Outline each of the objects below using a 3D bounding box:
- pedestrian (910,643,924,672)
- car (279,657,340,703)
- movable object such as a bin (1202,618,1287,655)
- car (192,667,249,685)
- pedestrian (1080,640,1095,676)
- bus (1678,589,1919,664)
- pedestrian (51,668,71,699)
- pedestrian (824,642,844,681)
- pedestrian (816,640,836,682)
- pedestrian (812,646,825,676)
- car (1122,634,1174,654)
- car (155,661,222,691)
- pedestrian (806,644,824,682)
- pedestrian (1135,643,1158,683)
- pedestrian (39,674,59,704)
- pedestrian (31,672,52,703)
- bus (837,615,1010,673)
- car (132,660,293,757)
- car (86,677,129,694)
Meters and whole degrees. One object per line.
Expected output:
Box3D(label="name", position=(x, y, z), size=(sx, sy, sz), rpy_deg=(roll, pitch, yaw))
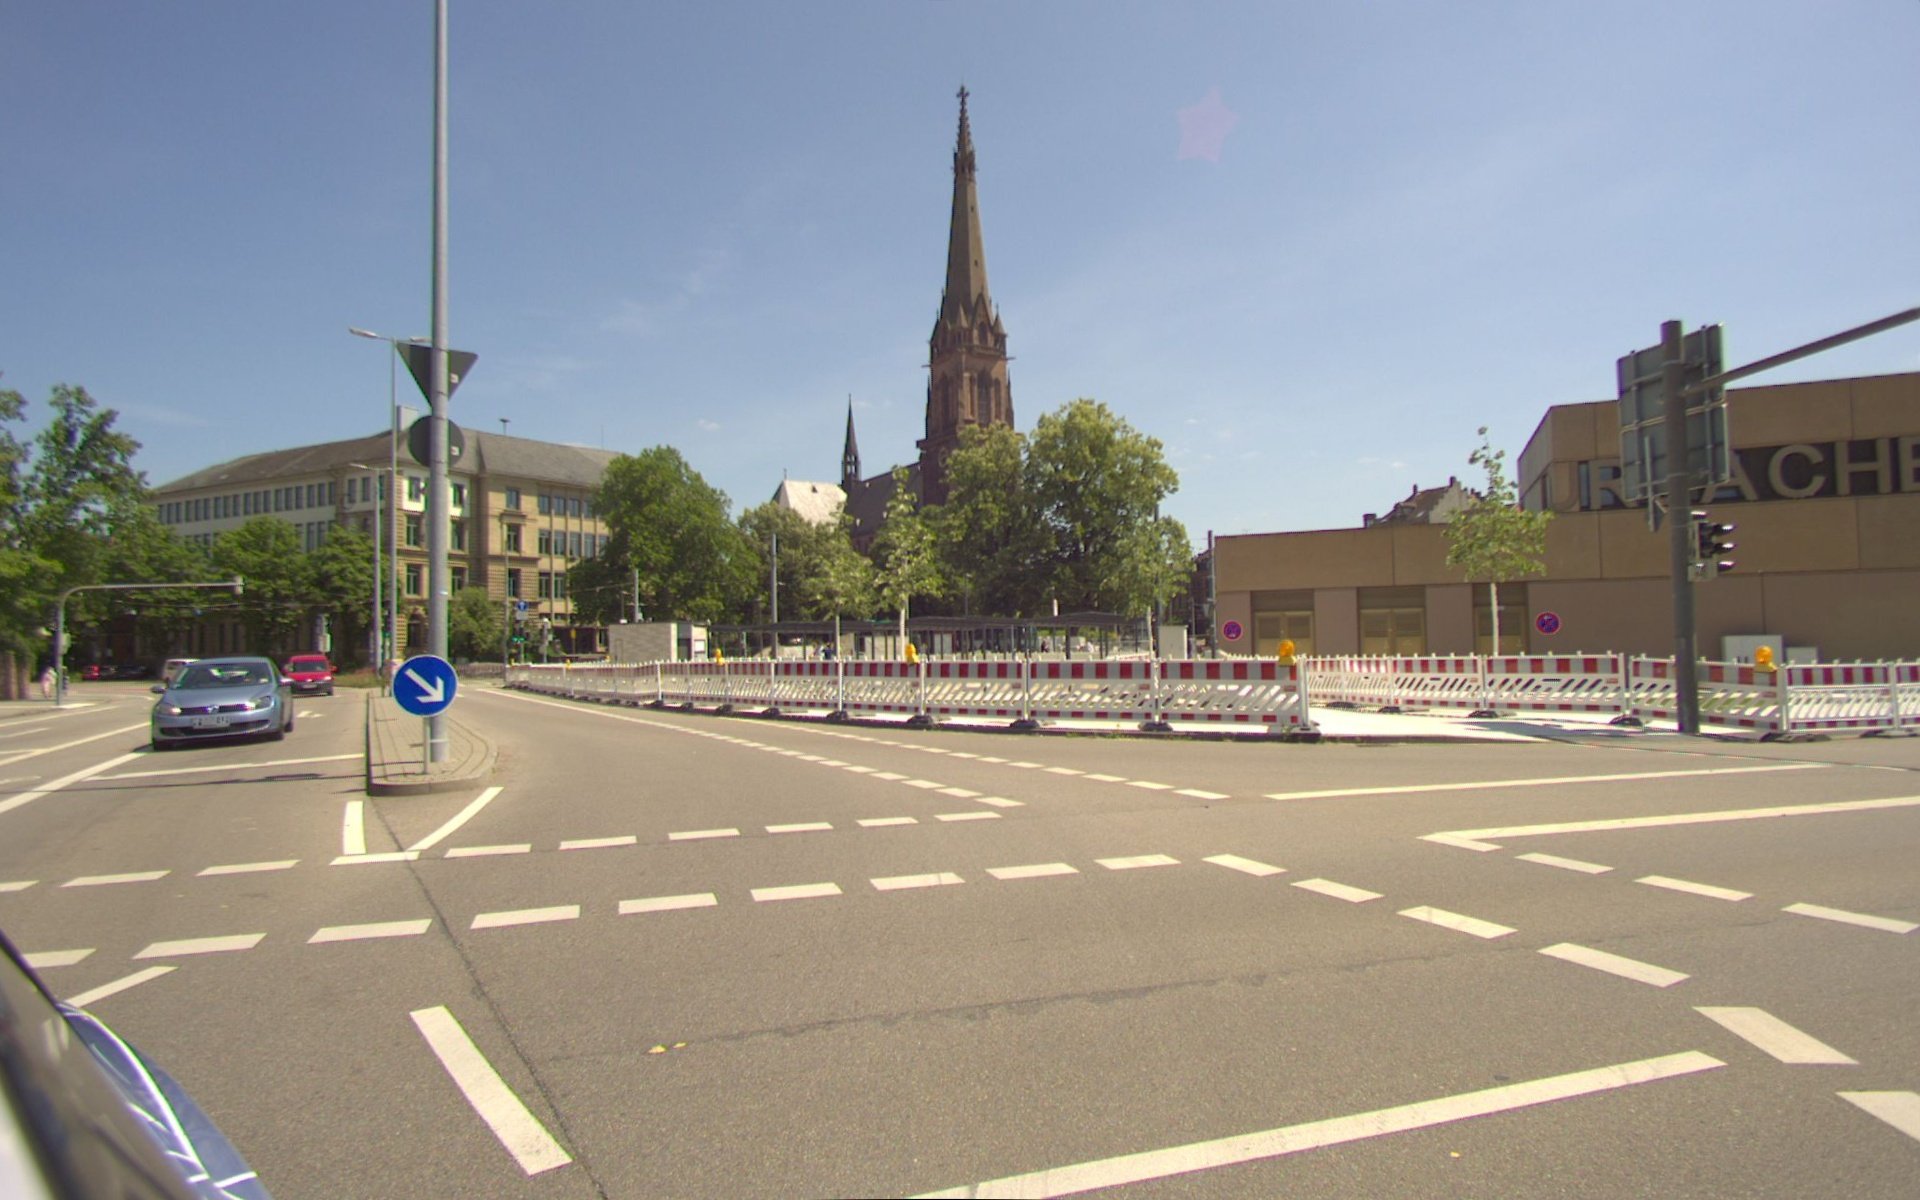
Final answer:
Box3D(label="pedestrian", position=(-2.458, 3.288, 57.938), size=(0.516, 1.632, 0.534), rpy_deg=(-4, -2, 20))
Box3D(label="car", position=(-28.335, 3.433, 44.197), size=(1.802, 1.779, 4.292), rpy_deg=(-2, -2, -27))
Box3D(label="movable object such as a bin", position=(29.653, 3.827, 105.733), size=(7.976, 3.414, 2.867), rpy_deg=(-5, -2, 43))
Box3D(label="car", position=(-59.183, 6.069, 80.999), size=(4.403, 1.439, 1.805), rpy_deg=(-2, -4, 26))
Box3D(label="pedestrian", position=(6.881, 3.136, 54.566), size=(0.602, 1.872, 0.694), rpy_deg=(-4, -2, 20))
Box3D(label="bus", position=(39.059, 1.178, 43.961), size=(12.181, 3.065, 3.707), rpy_deg=(-2, -3, 25))
Box3D(label="pedestrian", position=(-51.309, 4.787, 57.773), size=(0.555, 1.726, 0.599), rpy_deg=(-4, -6, 26))
Box3D(label="pedestrian", position=(-6.031, 2.942, 48.430), size=(0.634, 1.802, 0.640), rpy_deg=(-4, -2, 24))
Box3D(label="pedestrian", position=(-6.272, 2.847, 47.291), size=(0.573, 1.920, 0.687), rpy_deg=(-4, -2, 23))
Box3D(label="pedestrian", position=(-8.257, 3.577, 59.132), size=(0.558, 1.714, 0.580), rpy_deg=(-3, -2, 5))
Box3D(label="car", position=(16.615, 3.887, 89.719), size=(1.757, 1.614, 4.247), rpy_deg=(-1, -3, -45))
Box3D(label="car", position=(-53.648, 5.266, 70.355), size=(4.229, 1.877, 1.697), rpy_deg=(-4, -2, 21))
Box3D(label="pedestrian", position=(-6.980, 3.010, 48.670), size=(0.653, 1.769, 0.538), rpy_deg=(-3, -2, 15))
Box3D(label="pedestrian", position=(9.585, 3.232, 52.071), size=(0.875, 2.029, 0.690), rpy_deg=(-4, -2, 28))
Box3D(label="pedestrian", position=(-50.545, 4.918, 56.135), size=(0.556, 1.624, 0.599), rpy_deg=(-4, -6, 27))
Box3D(label="pedestrian", position=(-48.911, 4.640, 53.919), size=(0.556, 1.624, 0.599), rpy_deg=(-4, -6, 27))
Box3D(label="bus", position=(-2.344, 2.730, 62.503), size=(10.545, 3.076, 2.830), rpy_deg=(-4, -2, 26))
Box3D(label="car", position=(-12.705, 1.762, 17.445), size=(1.802, 1.425, 4.006), rpy_deg=(1, -3, -31))
Box3D(label="car", position=(-86.865, 8.678, 103.179), size=(1.591, 1.463, 3.582), rpy_deg=(-3, -2, -4))
